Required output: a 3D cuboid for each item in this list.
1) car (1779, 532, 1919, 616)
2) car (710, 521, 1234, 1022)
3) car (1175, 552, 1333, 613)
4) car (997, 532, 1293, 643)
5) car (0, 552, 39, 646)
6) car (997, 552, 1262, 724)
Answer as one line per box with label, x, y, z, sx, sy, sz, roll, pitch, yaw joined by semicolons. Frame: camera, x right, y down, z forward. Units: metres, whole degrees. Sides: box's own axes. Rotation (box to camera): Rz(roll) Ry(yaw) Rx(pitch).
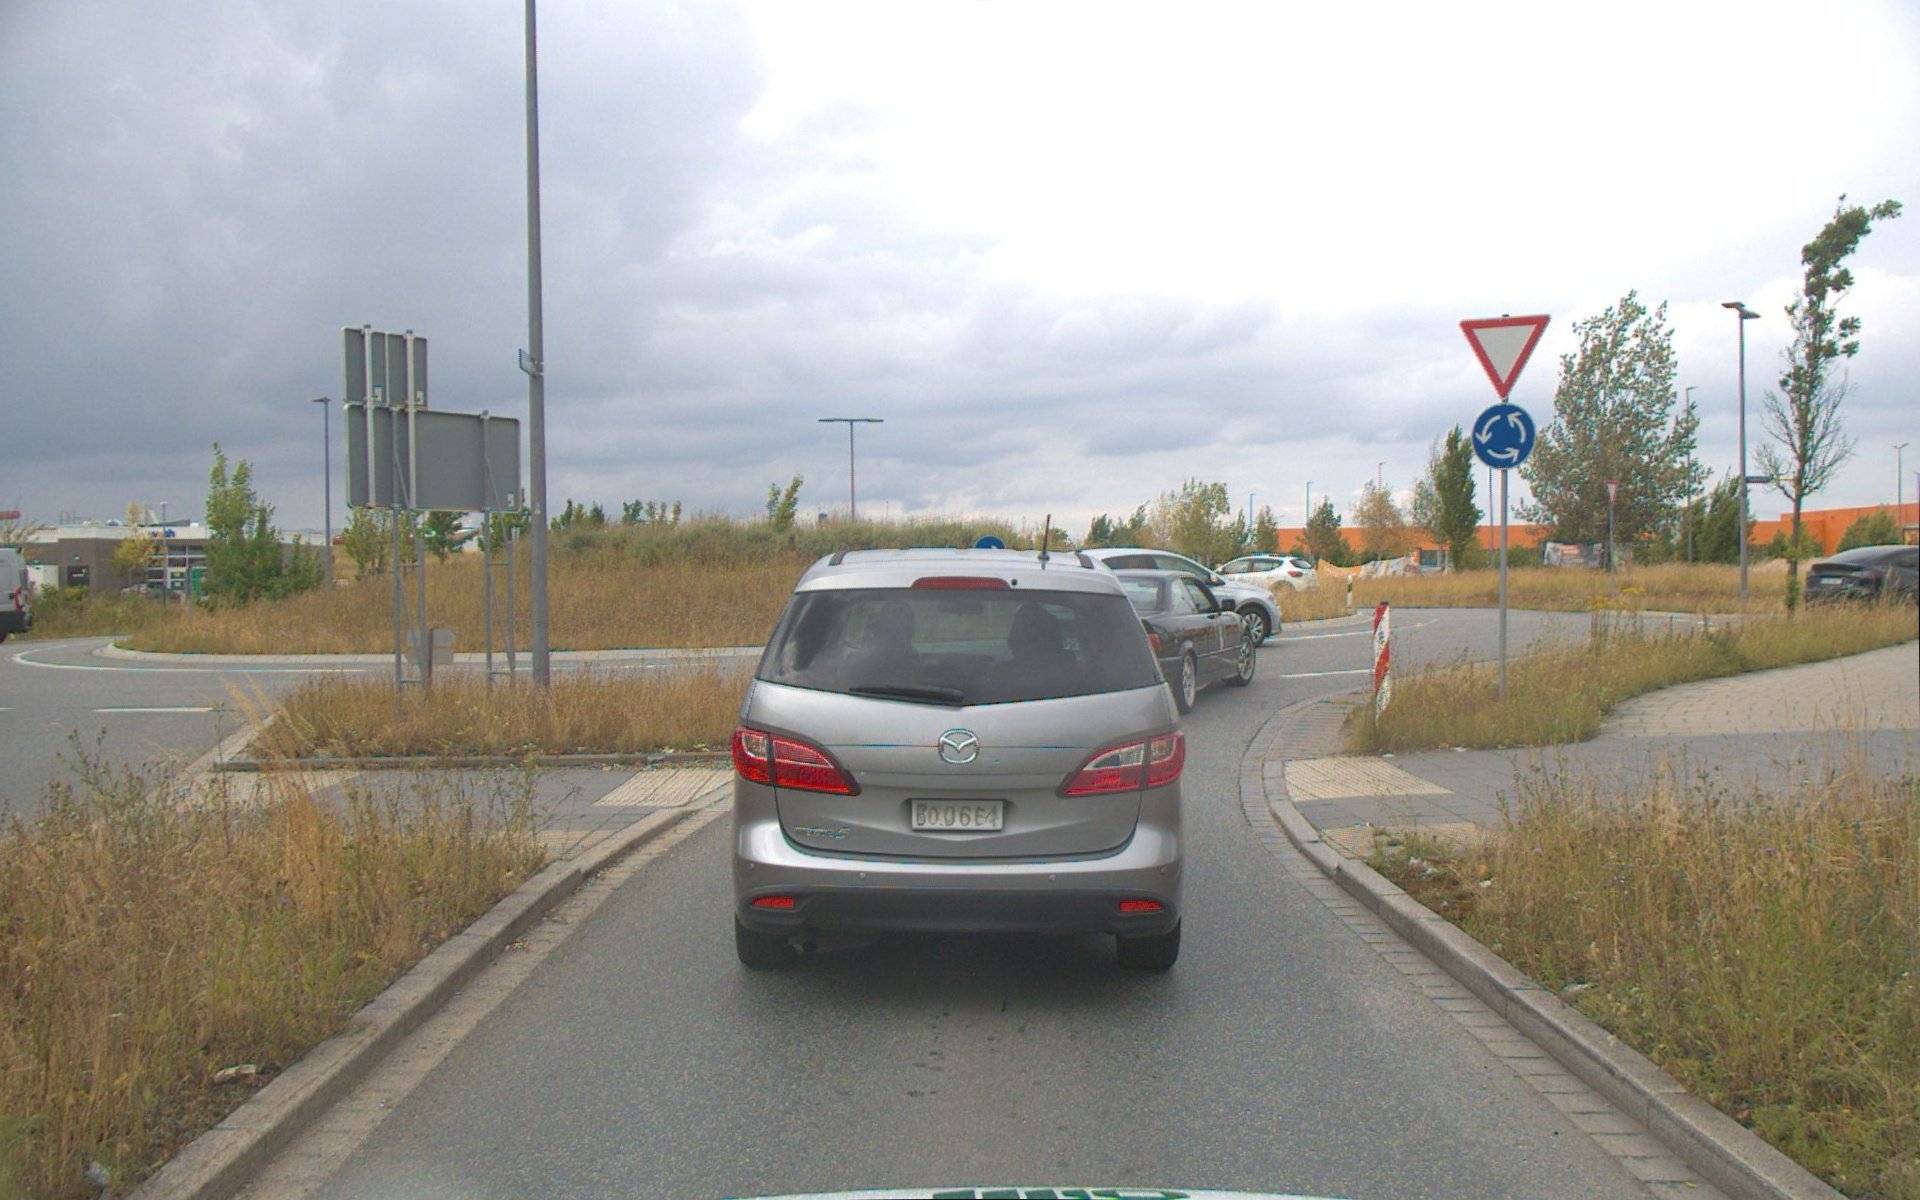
car;19.149;-0.591;34.169;4.717;1.524;1.922;-3;3;-34
car;0.025;0.533;7.441;1.702;1.626;3.997;1;1;-1
car;8.711;-0.512;49.093;4.246;1.677;1.867;0;3;31
car;2.691;-0.152;24.174;3.928;1.490;1.803;1;-1;-21
car;-27.225;-0.066;42.865;5.618;2.429;2.264;1;-1;-24
car;1.866;0.276;17.010;1.702;1.428;3.999;1;3;21
